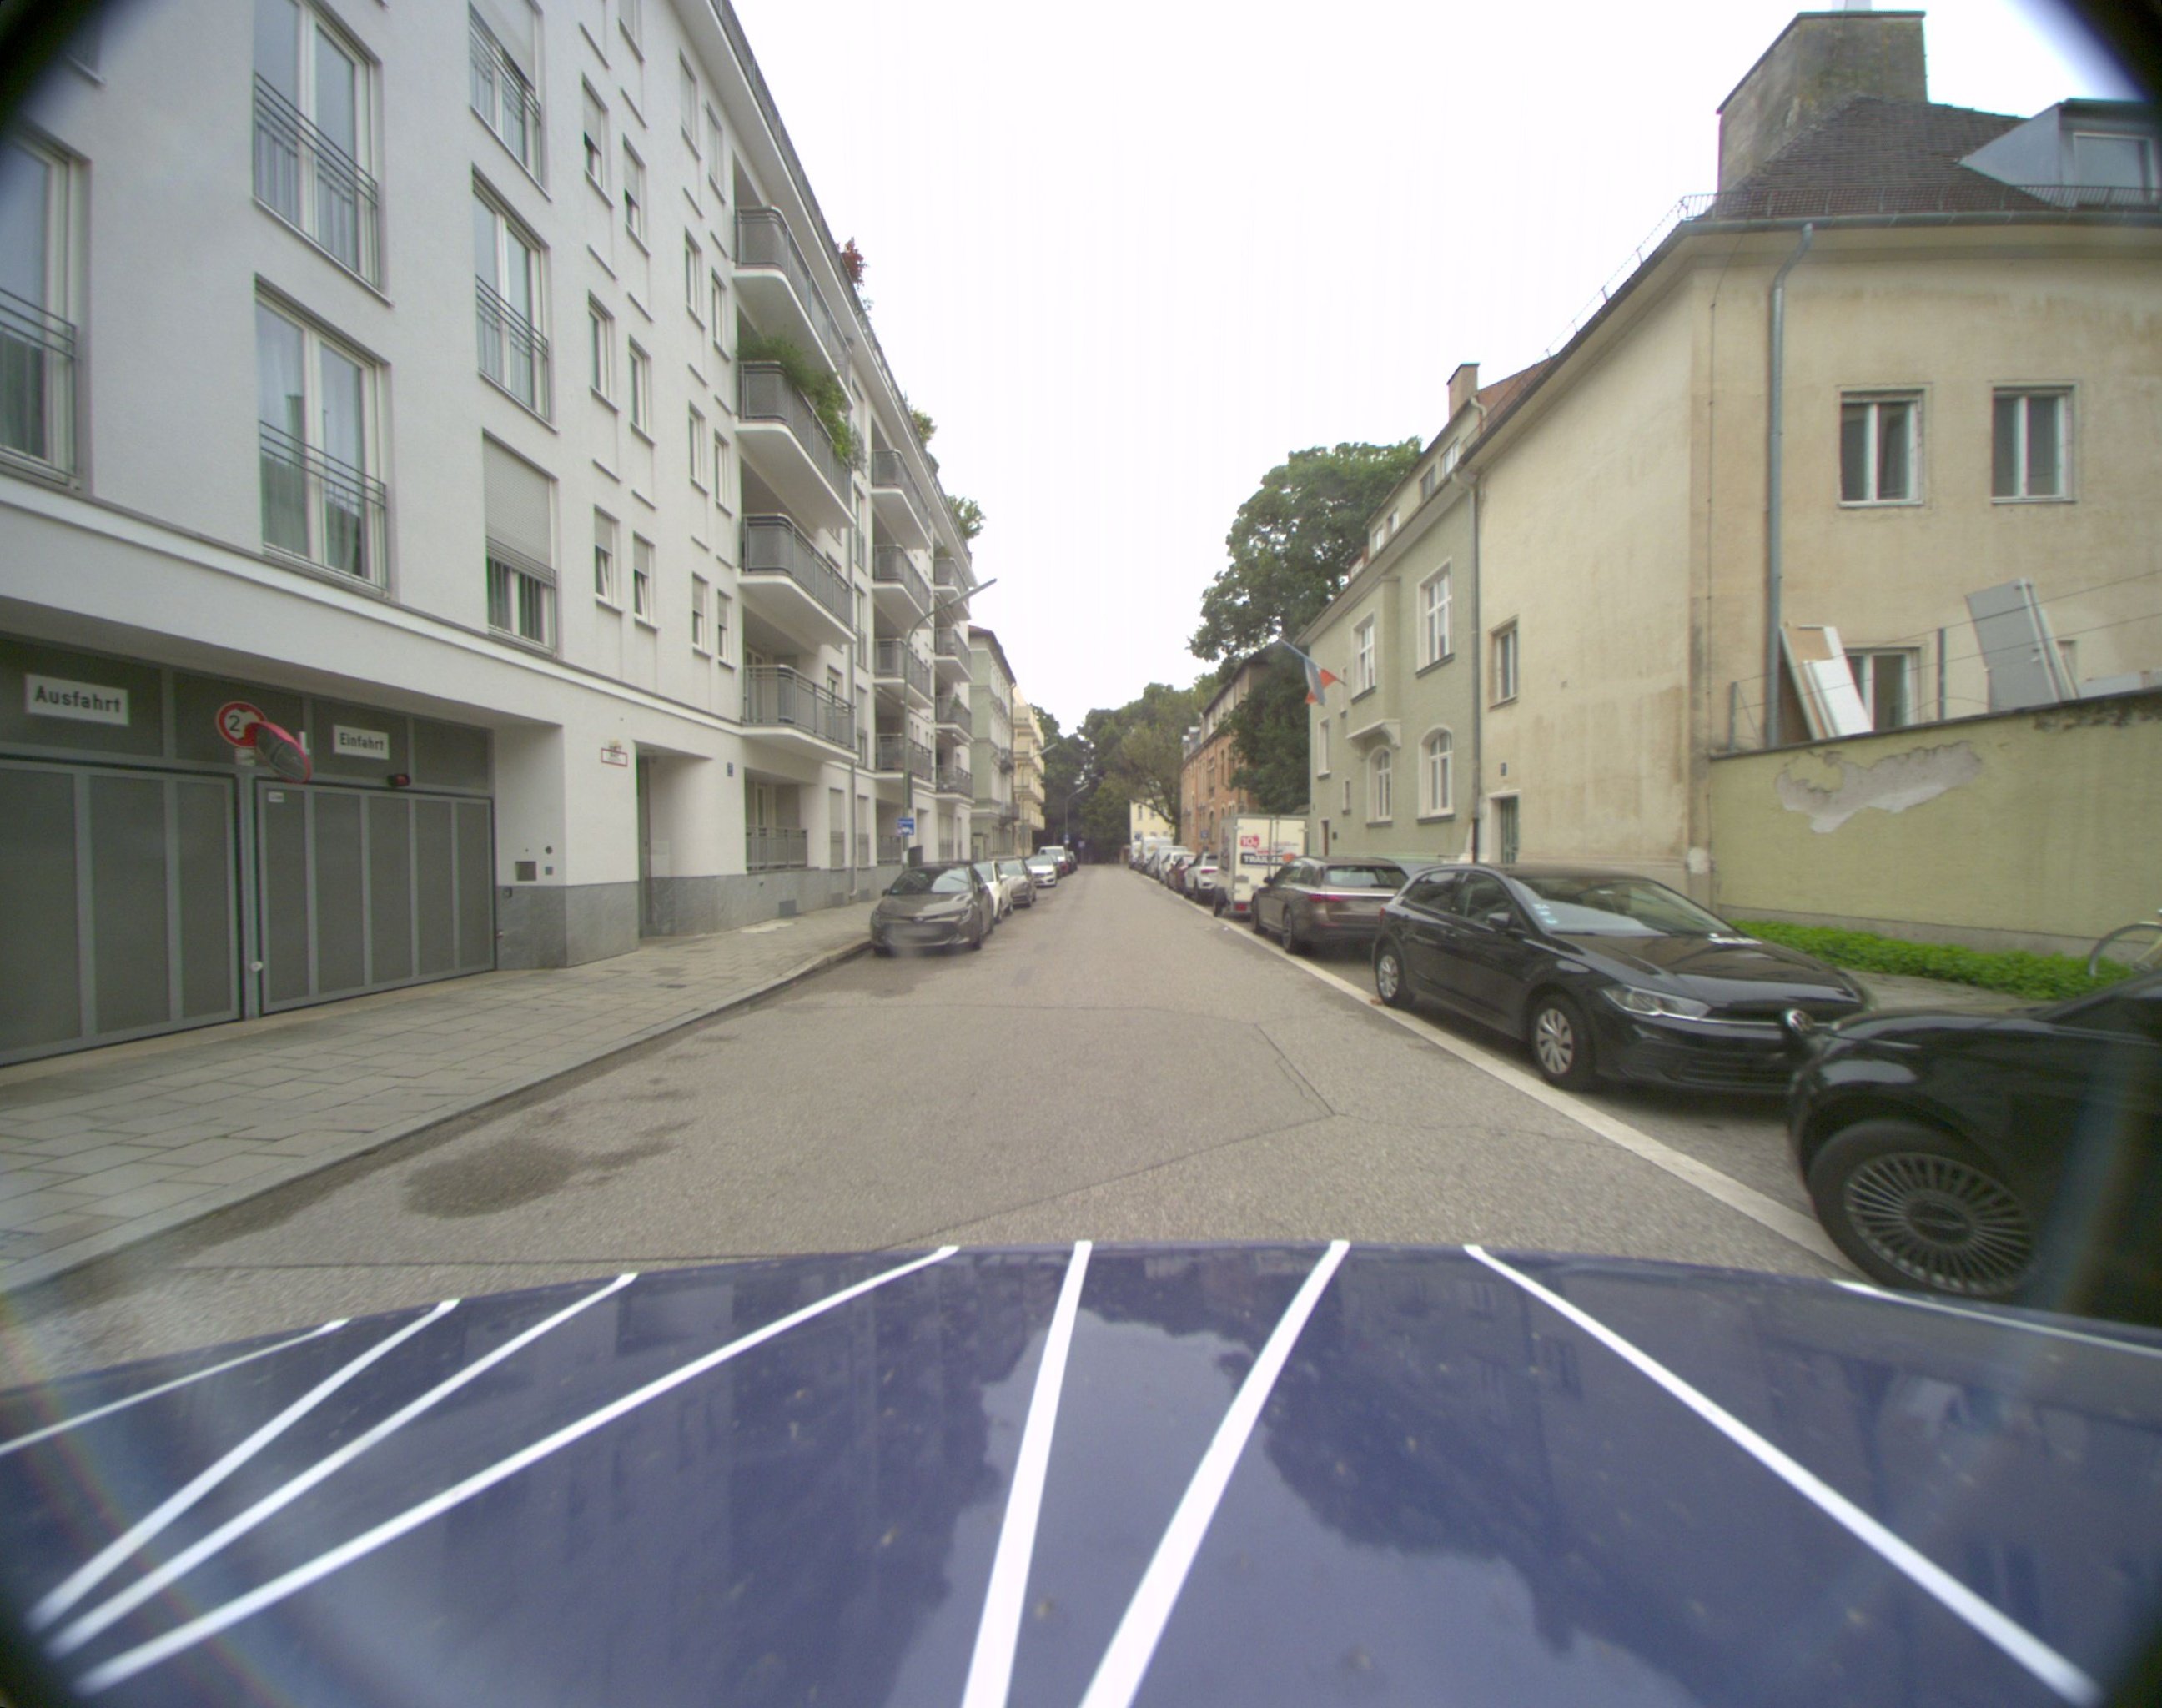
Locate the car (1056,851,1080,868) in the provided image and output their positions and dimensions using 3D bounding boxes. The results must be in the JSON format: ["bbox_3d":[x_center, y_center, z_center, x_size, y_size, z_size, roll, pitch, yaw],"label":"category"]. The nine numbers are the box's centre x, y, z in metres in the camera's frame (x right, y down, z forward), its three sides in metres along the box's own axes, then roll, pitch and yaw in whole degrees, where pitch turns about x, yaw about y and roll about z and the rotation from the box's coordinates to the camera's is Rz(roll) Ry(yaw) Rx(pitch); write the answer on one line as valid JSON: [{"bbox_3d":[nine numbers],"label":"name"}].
[{"bbox_3d":[-1.095,0.451,66.021,1.871,1.455,4.268,-1,1,2],"label":"car"}]

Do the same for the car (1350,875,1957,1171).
[{"bbox_3d":[3.777,0.954,6.083,1.697,1.417,4.069,0,1,-2],"label":"car"}]

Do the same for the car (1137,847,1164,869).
[{"bbox_3d":[5.133,0.277,56.534,1.817,1.526,3.748,-1,1,2],"label":"car"}]

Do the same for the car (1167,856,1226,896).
[{"bbox_3d":[4.309,0.772,28.790,1.817,1.339,3.746,-1,1,2],"label":"car"}]

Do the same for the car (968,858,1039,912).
[{"bbox_3d":[-2.290,0.875,23.247,1.766,1.449,3.747,-1,1,0],"label":"car"}]

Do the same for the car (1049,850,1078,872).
[{"bbox_3d":[-1.249,0.478,55.874,1.871,1.455,4.268,-1,1,2],"label":"car"}]

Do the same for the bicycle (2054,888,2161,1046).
[{"bbox_3d":[8.247,0.851,5.335,0.580,1.125,1.742,-1,1,-1],"label":"bicycle"}]

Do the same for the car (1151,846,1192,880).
[{"bbox_3d":[4.776,0.456,40.578,1.817,1.724,3.649,-1,1,1],"label":"car"}]

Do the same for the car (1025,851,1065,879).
[{"bbox_3d":[-1.922,0.559,41.576,1.765,1.449,3.748,-1,1,4],"label":"car"}]

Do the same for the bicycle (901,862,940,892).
[{"bbox_3d":[-5.809,0.816,27.630,0.580,1.008,1.955,-2,1,14],"label":"bicycle"}]

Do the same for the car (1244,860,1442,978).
[{"bbox_3d":[3.991,0.880,12.458,1.817,1.491,4.643,0,1,2],"label":"car"}]

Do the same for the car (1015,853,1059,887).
[{"bbox_3d":[-1.994,0.712,35.181,1.766,1.449,3.747,-1,1,0],"label":"car"}]

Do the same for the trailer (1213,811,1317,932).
[{"bbox_3d":[4.261,0.346,18.074,1.817,2.521,3.390,3,1,6],"label":"trailer"}]

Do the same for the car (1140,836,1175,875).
[{"bbox_3d":[5.082,0.068,50.835,2.104,2.418,4.549,-1,1,3],"label":"car"}]

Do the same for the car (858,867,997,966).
[{"bbox_3d":[-2.584,0.993,13.766,1.784,1.385,4.245,-1,1,-2],"label":"car"}]

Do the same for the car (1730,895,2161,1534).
[{"bbox_3d":[3.569,0.940,1.360,1.706,1.485,3.488,-1,1,-4],"label":"car"}]

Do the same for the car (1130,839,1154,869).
[{"bbox_3d":[5.354,-0.027,67.303,1.880,2.539,4.370,-1,1,2],"label":"car"}]

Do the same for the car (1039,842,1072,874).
[{"bbox_3d":[-1.639,0.219,50.242,1.871,2.002,4.268,-1,1,2],"label":"car"}]

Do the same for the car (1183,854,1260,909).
[{"bbox_3d":[4.252,0.784,23.538,1.767,1.505,3.842,0,1,1],"label":"car"}]

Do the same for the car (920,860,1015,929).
[{"bbox_3d":[-2.681,0.919,18.653,1.766,1.449,3.417,-1,1,0],"label":"car"}]

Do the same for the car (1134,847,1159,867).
[{"bbox_3d":[5.287,0.234,61.438,1.817,1.526,3.752,-1,1,2],"label":"car"}]

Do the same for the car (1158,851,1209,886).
[{"bbox_3d":[4.579,0.632,34.434,1.818,1.444,3.927,-1,1,0],"label":"car"}]
